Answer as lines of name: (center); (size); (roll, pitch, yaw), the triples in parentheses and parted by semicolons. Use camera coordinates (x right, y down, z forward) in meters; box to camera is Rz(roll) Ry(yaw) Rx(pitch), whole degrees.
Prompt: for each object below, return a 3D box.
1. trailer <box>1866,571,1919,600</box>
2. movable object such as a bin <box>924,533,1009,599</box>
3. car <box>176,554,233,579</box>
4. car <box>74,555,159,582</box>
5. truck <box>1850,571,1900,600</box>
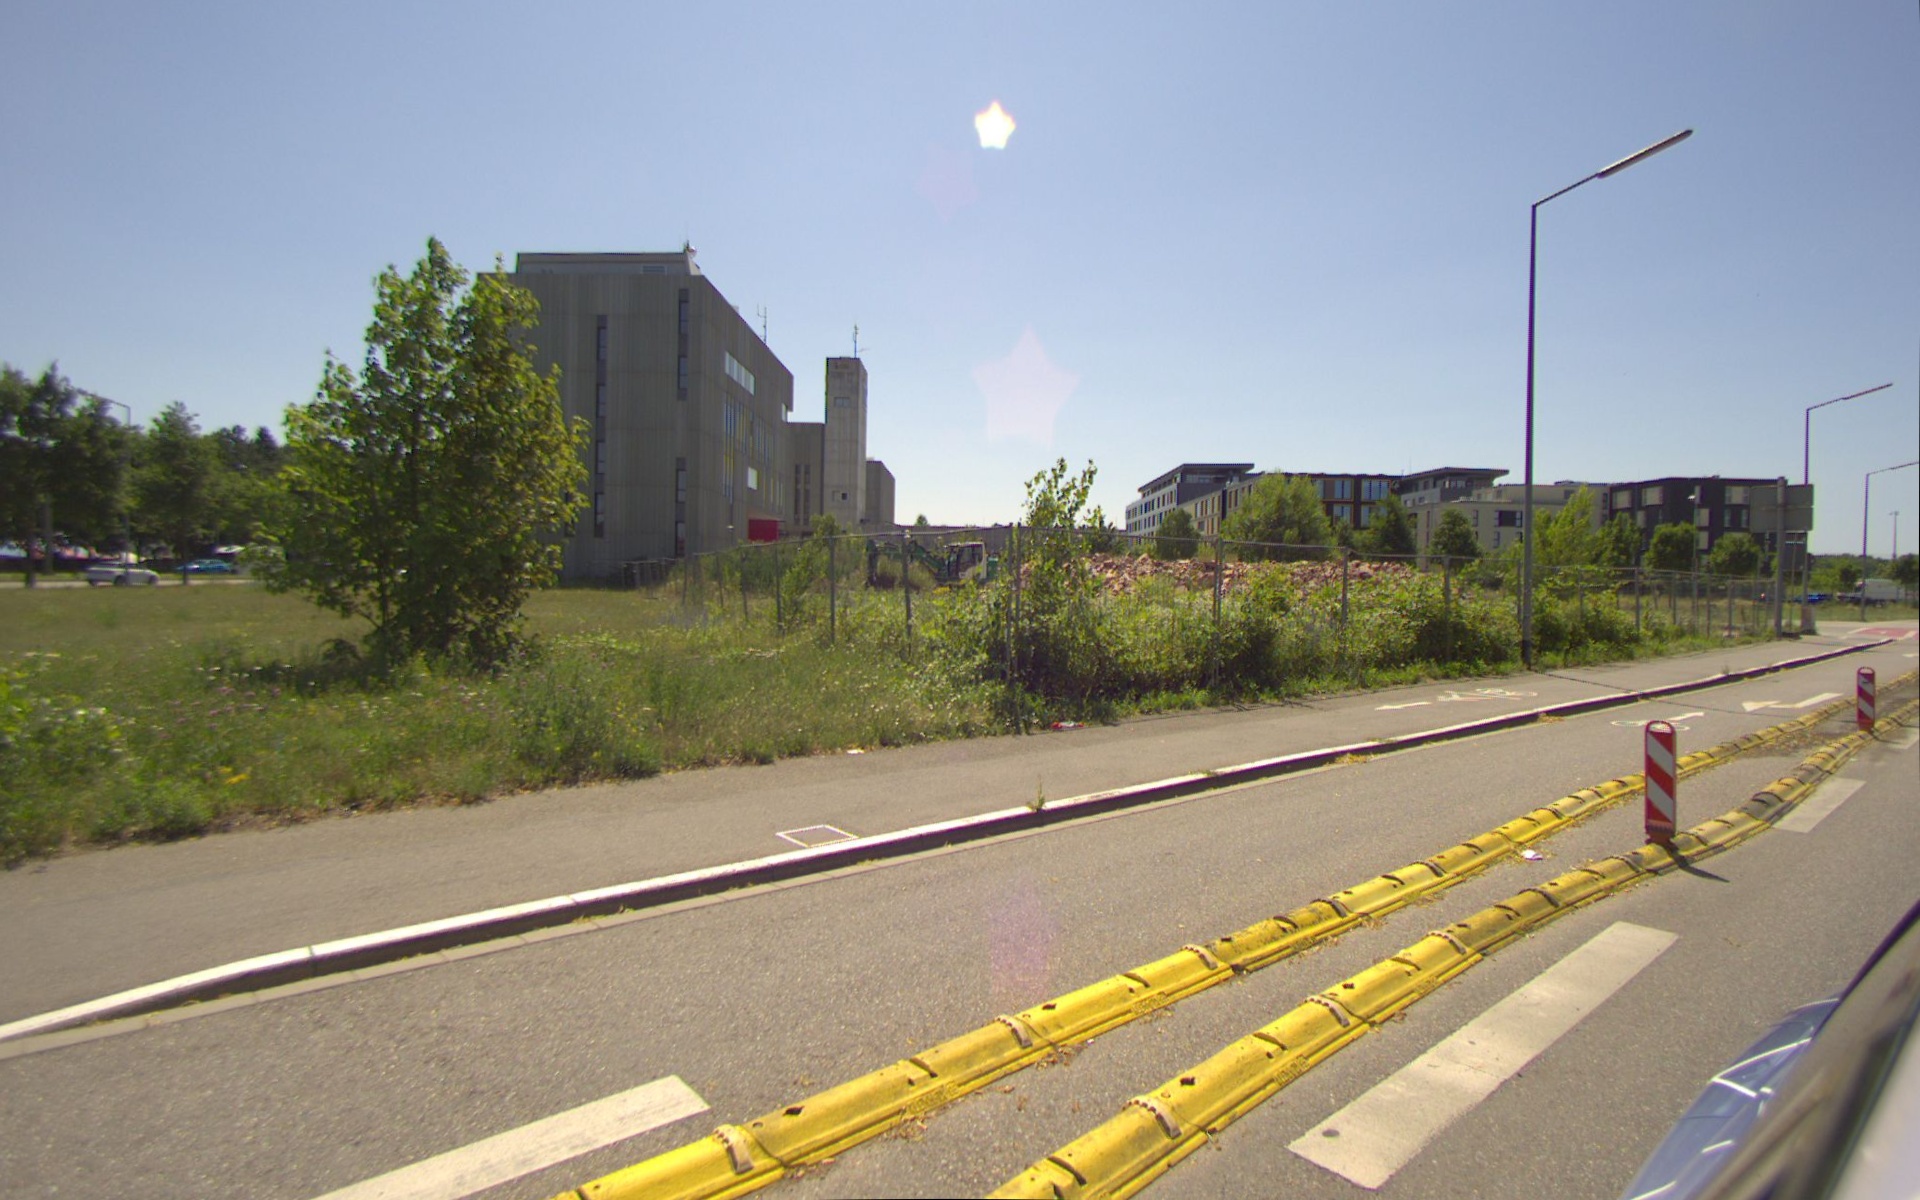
trailer: (114.950, -1.699, 122.676); (8.030, 3.390, 1.998); (1, 1, 4)
movable object such as a bin: (0.338, -1.641, 50.032); (3.619, 3.101, 2.207); (0, 1, -36)
car: (-63.025, -2.766, 84.496); (1.961, 2.039, 4.002); (0, 1, -2)
car: (-50.000, -1.844, 60.093); (1.708, 1.571, 3.999); (0, 1, 1)
truck: (111.154, -1.812, 122.967); (3.928, 3.377, 1.998); (1, 1, 4)
